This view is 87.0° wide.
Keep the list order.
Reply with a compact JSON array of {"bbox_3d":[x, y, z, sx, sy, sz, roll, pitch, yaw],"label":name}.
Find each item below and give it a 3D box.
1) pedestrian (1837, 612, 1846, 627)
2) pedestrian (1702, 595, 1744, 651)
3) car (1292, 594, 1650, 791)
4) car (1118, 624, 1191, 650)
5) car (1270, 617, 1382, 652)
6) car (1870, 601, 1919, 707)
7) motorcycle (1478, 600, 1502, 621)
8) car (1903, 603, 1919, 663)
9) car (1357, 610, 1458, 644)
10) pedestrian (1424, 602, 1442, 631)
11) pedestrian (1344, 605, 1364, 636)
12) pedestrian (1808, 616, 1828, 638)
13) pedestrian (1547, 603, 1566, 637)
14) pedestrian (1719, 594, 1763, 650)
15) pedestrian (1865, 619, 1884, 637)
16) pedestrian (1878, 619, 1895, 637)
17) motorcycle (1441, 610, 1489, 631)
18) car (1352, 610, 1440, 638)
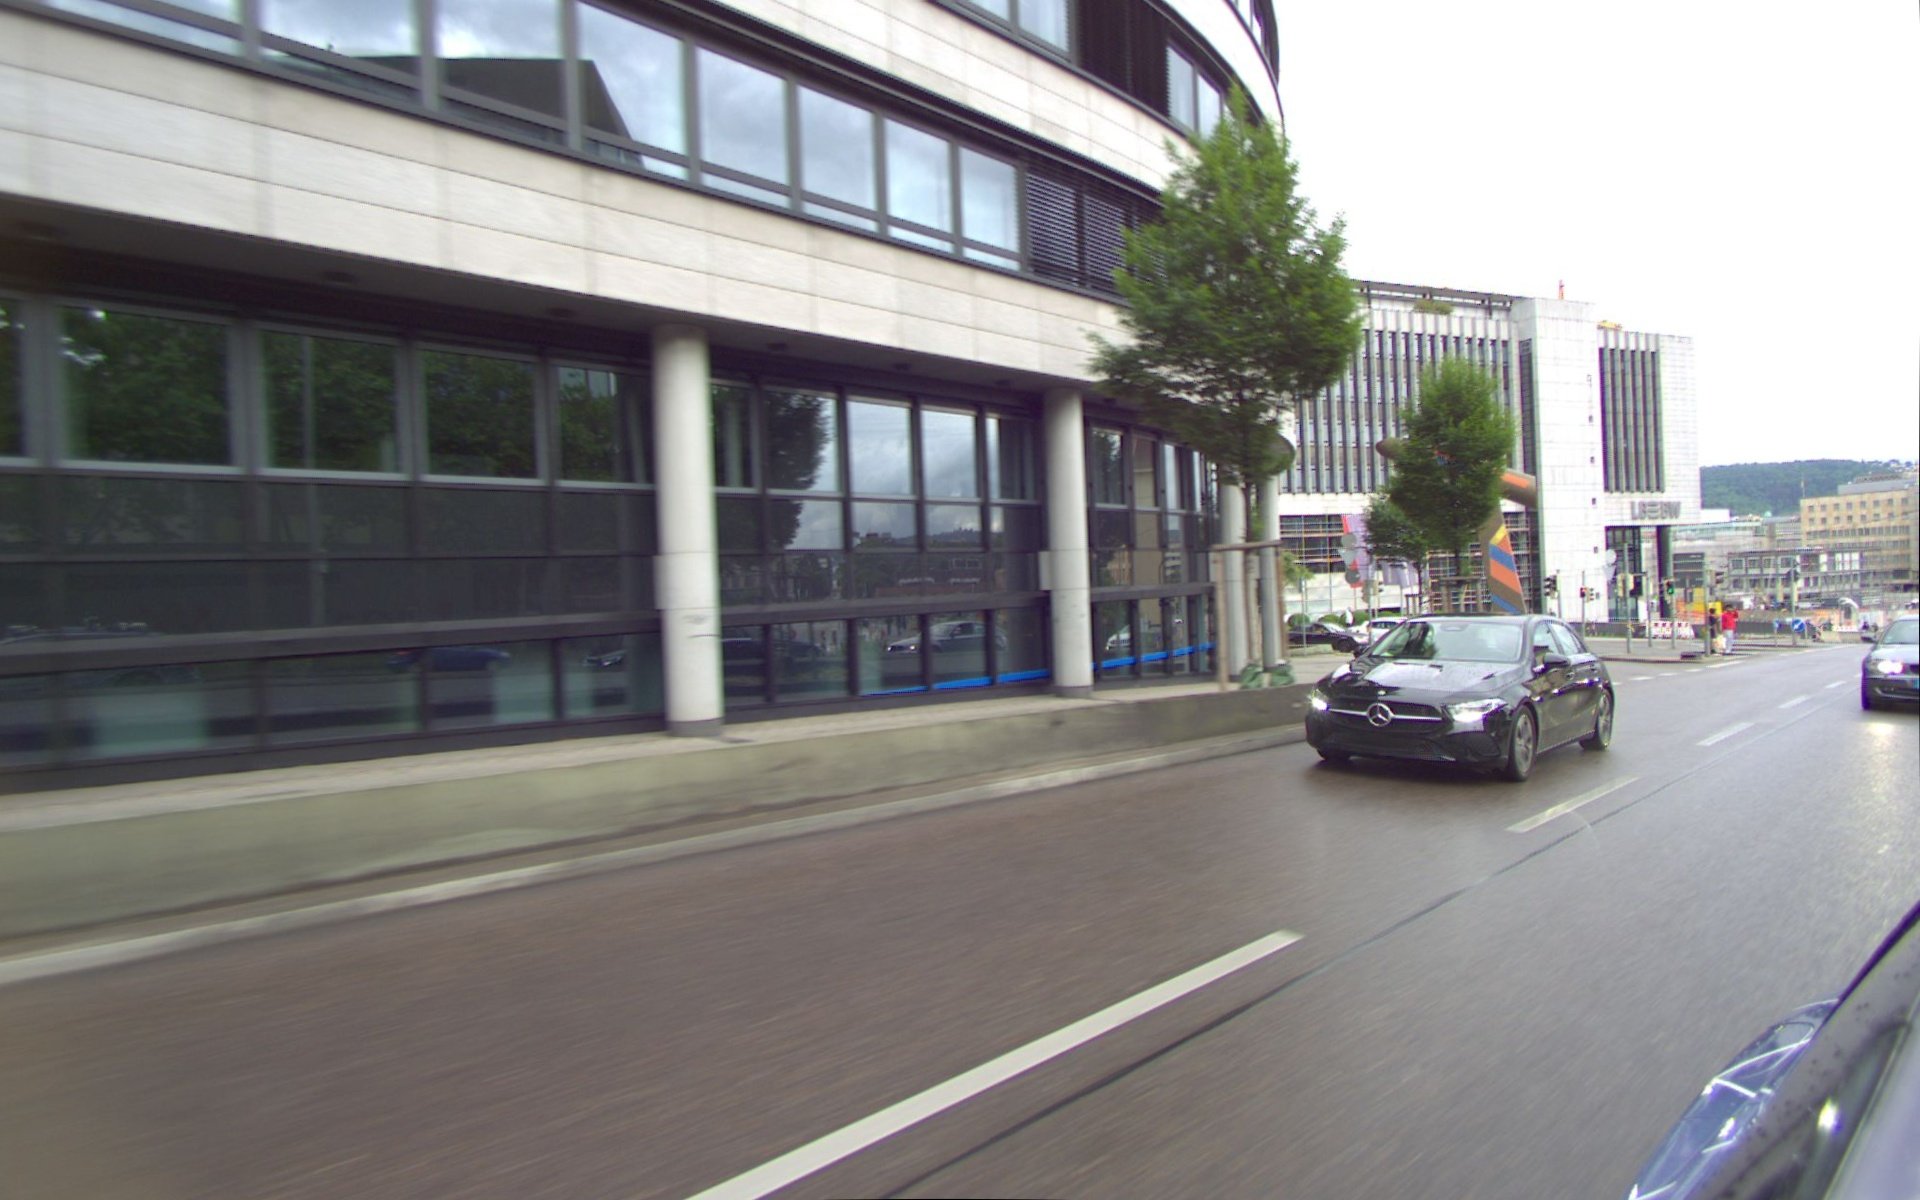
[{"bbox_3d":[105.372,2.374,120.991,0.485,1.770,0.569,-2,0,-24],"label":"pedestrian"},{"bbox_3d":[26.647,0.793,35.360,0.716,1.928,0.845,-2,0,-17],"label":"pedestrian"},{"bbox_3d":[5.086,0.699,9.804,4.156,1.424,1.757,-1,3,-43],"label":"car"},{"bbox_3d":[12.705,2.384,66.196,4.521,1.655,1.766,0,-1,19],"label":"car"},{"bbox_3d":[16.736,1.554,46.503,1.830,1.460,4.717,-2,0,-31],"label":"car"},{"bbox_3d":[14.908,0.763,15.166,1.740,1.461,3.936,0,-1,44],"label":"car"},{"bbox_3d":[33.208,0.665,63.363,1.239,1.287,0.611,0,-1,40],"label":"motorcycle"},{"bbox_3d":[27.071,0.878,27.154,4.141,1.568,1.968,1,-1,-38],"label":"car"},{"bbox_3d":[21.396,1.311,48.512,1.836,1.460,3.991,-4,1,-42],"label":"car"},{"bbox_3d":[28.655,0.980,61.288,0.829,1.732,0.730,-2,0,-43],"label":"pedestrian"},{"bbox_3d":[24.056,1.236,61.816,0.765,1.840,0.971,-2,0,-2],"label":"pedestrian"},{"bbox_3d":[68.346,2.138,80.623,1.038,1.673,0.733,-1,-1,-15],"label":"pedestrian"},{"bbox_3d":[37.707,1.248,64.015,0.845,2.126,0.897,-3,-3,24],"label":"pedestrian"},{"bbox_3d":[27.706,0.765,35.920,0.843,1.928,0.845,-2,0,-17],"label":"pedestrian"},{"bbox_3d":[83.822,2.565,92.790,0.932,1.613,0.865,-2,0,-15],"label":"pedestrian"},{"bbox_3d":[84.308,2.535,92.076,0.788,1.595,0.735,-2,-1,-15],"label":"pedestrian"},{"bbox_3d":[31.226,1.256,62.570,2.561,1.094,0.626,3,1,41],"label":"motorcycle"},{"bbox_3d":[25.097,1.386,58.322,4.564,1.470,1.692,-2,-1,24],"label":"car"}]
